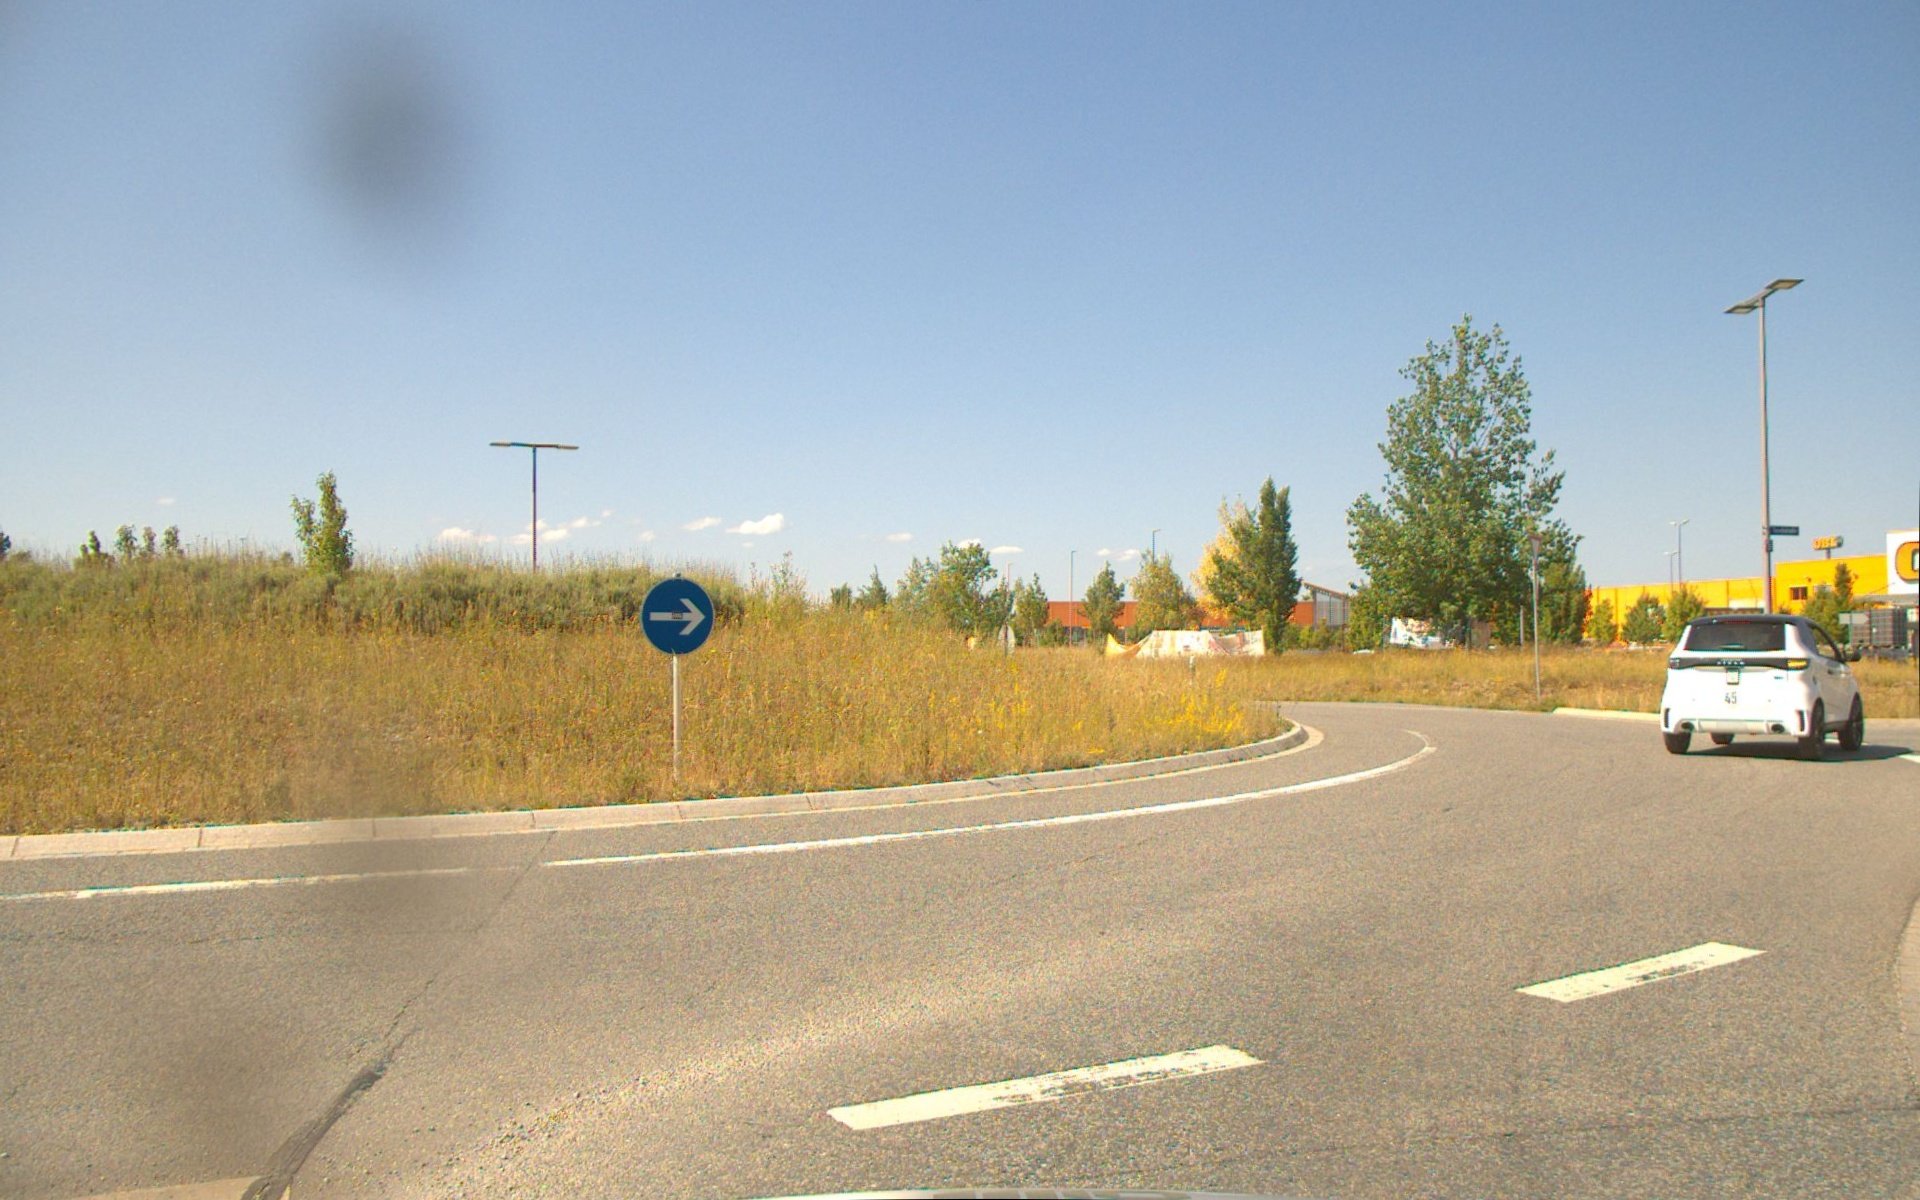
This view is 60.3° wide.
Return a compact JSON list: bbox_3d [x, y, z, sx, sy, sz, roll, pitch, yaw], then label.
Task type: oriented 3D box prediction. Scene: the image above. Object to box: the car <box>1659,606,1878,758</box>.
[{"bbox_3d":[8.910,0.819,18.109,1.485,1.465,3.335,0,0,38],"label":"car"}]
